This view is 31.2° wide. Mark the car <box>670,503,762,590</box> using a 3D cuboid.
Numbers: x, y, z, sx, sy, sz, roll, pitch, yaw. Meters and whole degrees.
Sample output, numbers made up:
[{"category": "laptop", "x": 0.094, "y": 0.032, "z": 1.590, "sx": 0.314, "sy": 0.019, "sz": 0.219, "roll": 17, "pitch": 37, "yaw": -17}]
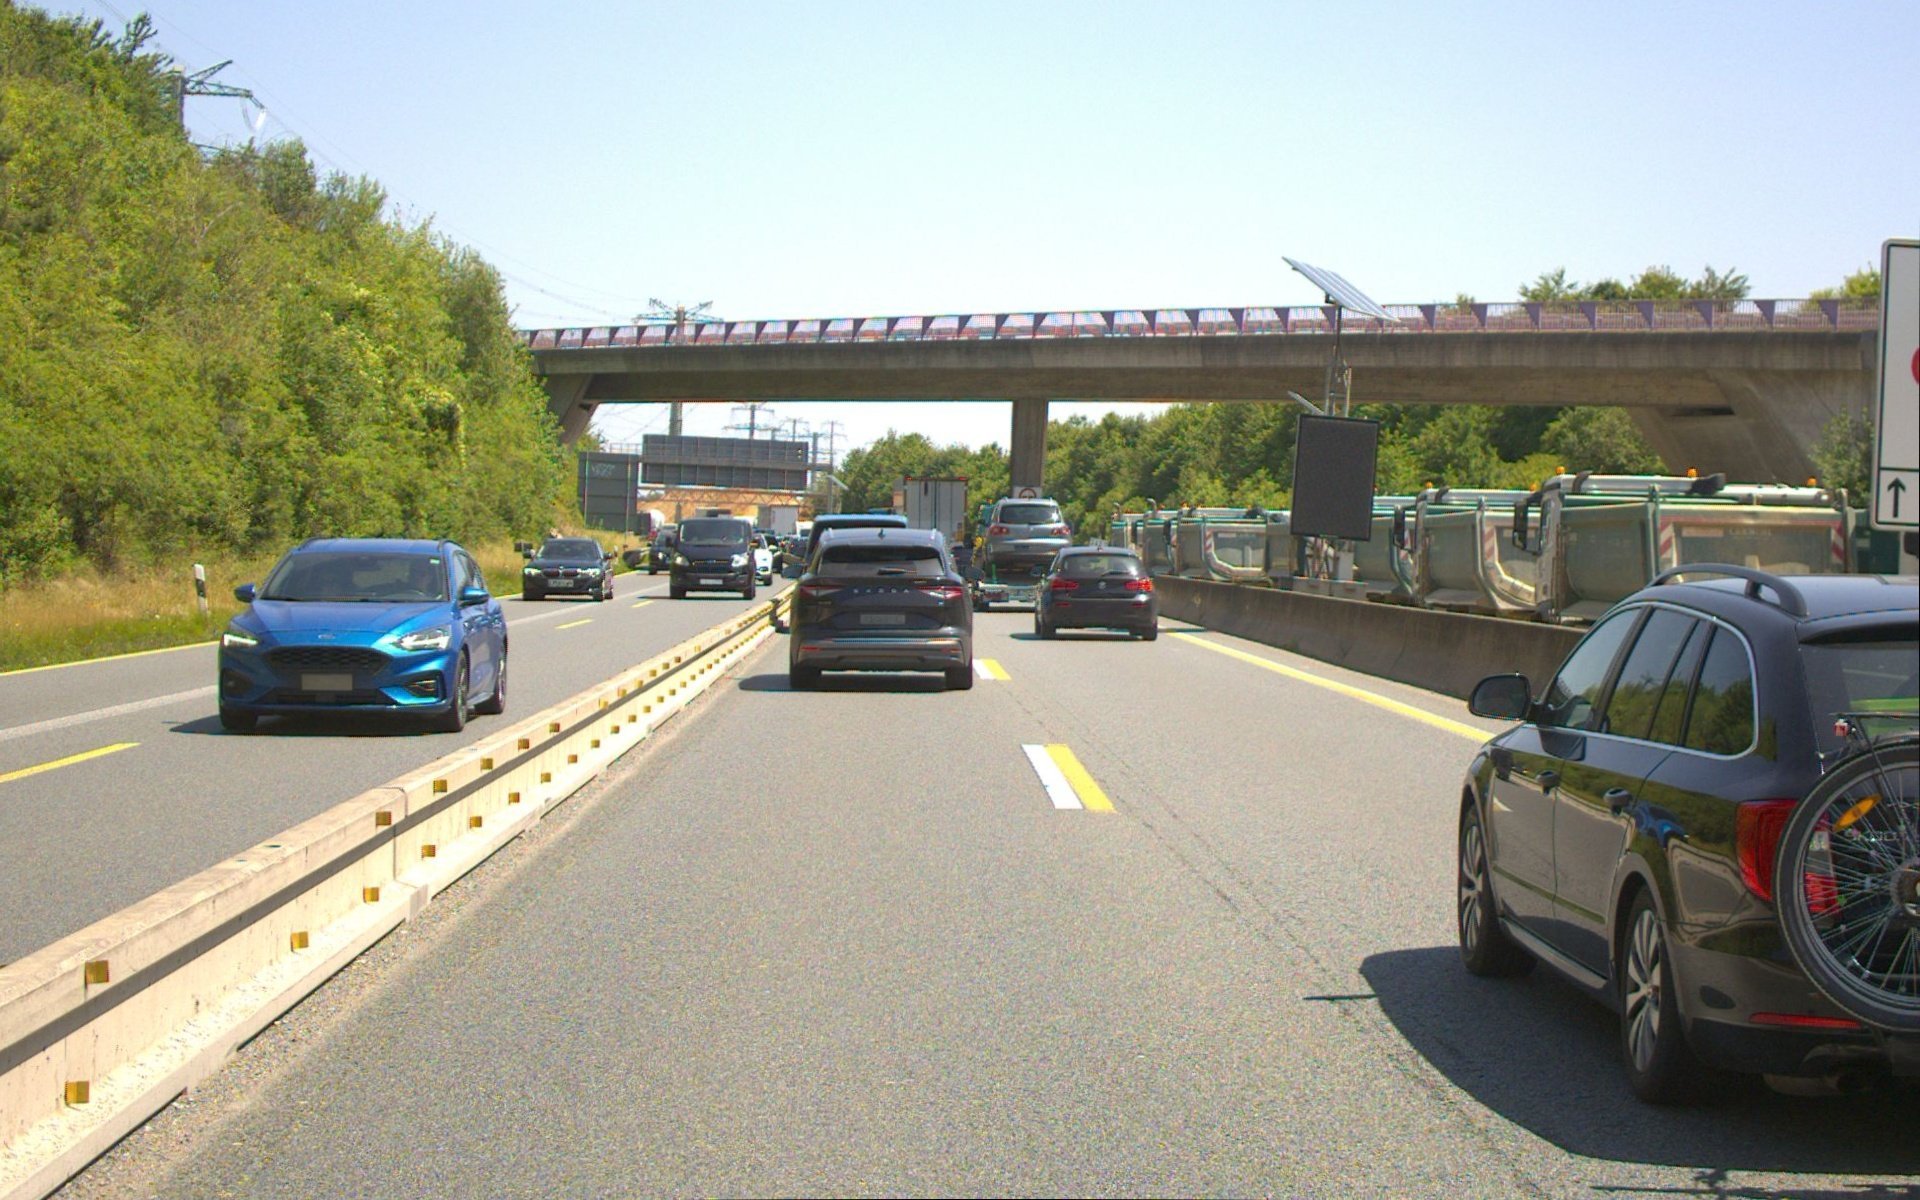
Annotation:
[{"category": "car", "x": -5.874, "y": -1.307, "z": 83.163, "sx": 1.890, "sy": 2.007, "sz": 4.818, "roll": 1, "pitch": 1, "yaw": -1}]

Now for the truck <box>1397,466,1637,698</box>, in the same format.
[{"category": "truck", "x": 9.231, "y": -0.365, "z": 58.031, "sx": 2.687, "sy": 3.545, "sz": 9.406, "roll": 1, "pitch": 1, "yaw": 2}]

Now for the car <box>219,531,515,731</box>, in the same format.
[{"category": "car", "x": -4.590, "y": 0.200, "z": 27.123, "sx": 1.712, "sy": 1.420, "sz": 4.170, "roll": 1, "pitch": 1, "yaw": -2}]

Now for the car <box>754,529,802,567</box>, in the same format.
[{"category": "car", "x": -7.672, "y": -2.210, "z": 145.254, "sx": 1.843, "sy": 1.528, "sz": 4.671, "roll": 2, "pitch": 1, "yaw": -1}]

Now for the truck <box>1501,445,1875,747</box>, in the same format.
[{"category": "truck", "x": 9.433, "y": -0.143, "z": 45.783, "sx": 2.687, "sy": 3.545, "sz": 9.603, "roll": 1, "pitch": 1, "yaw": -1}]

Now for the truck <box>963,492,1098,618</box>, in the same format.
[{"category": "truck", "x": 1.455, "y": -1.020, "z": 74.445, "sx": 2.405, "sy": 2.549, "sz": 7.501, "roll": 1, "pitch": 1, "yaw": -2}]

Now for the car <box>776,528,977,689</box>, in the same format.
[{"category": "car", "x": -0.817, "y": 0.048, "z": 35.222, "sx": 1.899, "sy": 1.500, "sz": 4.276, "roll": 1, "pitch": 1, "yaw": 0}]

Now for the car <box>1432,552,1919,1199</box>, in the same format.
[{"category": "car", "x": 2.678, "y": 0.630, "z": 9.851, "sx": 1.899, "sy": 1.485, "sz": 4.948, "roll": 1, "pitch": 1, "yaw": 0}]

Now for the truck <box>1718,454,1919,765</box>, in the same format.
[{"category": "truck", "x": 12.190, "y": 0.041, "z": 43.713, "sx": 2.687, "sy": 3.545, "sz": 9.604, "roll": 1, "pitch": 1, "yaw": -1}]

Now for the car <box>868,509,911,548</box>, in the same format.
[{"category": "car", "x": -3.686, "y": -3.693, "z": 178.579, "sx": 1.899, "sy": 1.962, "sz": 4.277, "roll": 1, "pitch": 1, "yaw": -5}]

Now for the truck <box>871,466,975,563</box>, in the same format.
[{"category": "truck", "x": -1.607, "y": -3.558, "z": 143.451, "sx": 3.292, "sy": 3.832, "sz": 10.112, "roll": 1, "pitch": 1, "yaw": -6}]

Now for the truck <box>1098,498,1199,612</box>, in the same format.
[{"category": "truck", "x": 6.573, "y": -1.617, "z": 121.120, "sx": 2.687, "sy": 3.830, "sz": 9.326, "roll": 1, "pitch": 1, "yaw": -2}]

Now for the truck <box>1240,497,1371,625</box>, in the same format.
[{"category": "truck", "x": 10.584, "y": -1.235, "z": 106.117, "sx": 2.687, "sy": 3.714, "sz": 9.326, "roll": 1, "pitch": 1, "yaw": -2}]

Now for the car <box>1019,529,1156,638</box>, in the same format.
[{"category": "car", "x": 1.933, "y": -0.285, "z": 53.371, "sx": 1.899, "sy": 1.580, "sz": 4.276, "roll": 1, "pitch": 1, "yaw": -1}]

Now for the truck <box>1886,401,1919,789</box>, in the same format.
[{"category": "truck", "x": 10.158, "y": 0.051, "z": 27.639, "sx": 2.538, "sy": 3.545, "sz": 9.604, "roll": 1, "pitch": 1, "yaw": -1}]

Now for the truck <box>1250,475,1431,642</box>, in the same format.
[{"category": "truck", "x": 8.596, "y": -0.980, "z": 78.748, "sx": 2.687, "sy": 3.545, "sz": 9.326, "roll": 1, "pitch": 1, "yaw": -2}]

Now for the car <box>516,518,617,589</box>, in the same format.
[{"category": "car", "x": -8.937, "y": -1.071, "z": 78.358, "sx": 1.793, "sy": 1.520, "sz": 4.531, "roll": 1, "pitch": 1, "yaw": -1}]

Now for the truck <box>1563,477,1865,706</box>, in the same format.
[{"category": "truck", "x": 12.085, "y": -0.225, "z": 56.098, "sx": 2.687, "sy": 3.366, "sz": 9.603, "roll": 1, "pitch": 1, "yaw": 0}]

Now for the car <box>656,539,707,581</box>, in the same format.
[{"category": "car", "x": -10.821, "y": -1.570, "z": 133.796, "sx": 1.699, "sy": 1.560, "sz": 3.995, "roll": 2, "pitch": 1, "yaw": -1}]

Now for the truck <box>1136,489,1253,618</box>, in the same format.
[{"category": "truck", "x": 7.345, "y": -1.498, "z": 108.698, "sx": 2.687, "sy": 3.842, "sz": 9.326, "roll": 1, "pitch": 1, "yaw": -2}]

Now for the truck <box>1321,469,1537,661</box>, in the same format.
[{"category": "truck", "x": 9.321, "y": -0.750, "z": 69.389, "sx": 2.687, "sy": 3.545, "sz": 9.326, "roll": 1, "pitch": 1, "yaw": -2}]

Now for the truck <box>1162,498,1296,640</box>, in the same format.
[{"category": "truck", "x": 7.498, "y": -0.928, "z": 97.140, "sx": 2.687, "sy": 3.748, "sz": 9.326, "roll": 1, "pitch": 1, "yaw": -2}]

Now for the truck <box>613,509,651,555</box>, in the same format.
[{"category": "truck", "x": -23.488, "y": -4.858, "z": 246.066, "sx": 2.508, "sy": 3.175, "sz": 10.112, "roll": 1, "pitch": 1, "yaw": -6}]

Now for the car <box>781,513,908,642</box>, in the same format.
[{"category": "car", "x": -1.830, "y": -0.388, "z": 55.567, "sx": 1.899, "sy": 1.962, "sz": 4.276, "roll": 1, "pitch": 1, "yaw": 0}]
